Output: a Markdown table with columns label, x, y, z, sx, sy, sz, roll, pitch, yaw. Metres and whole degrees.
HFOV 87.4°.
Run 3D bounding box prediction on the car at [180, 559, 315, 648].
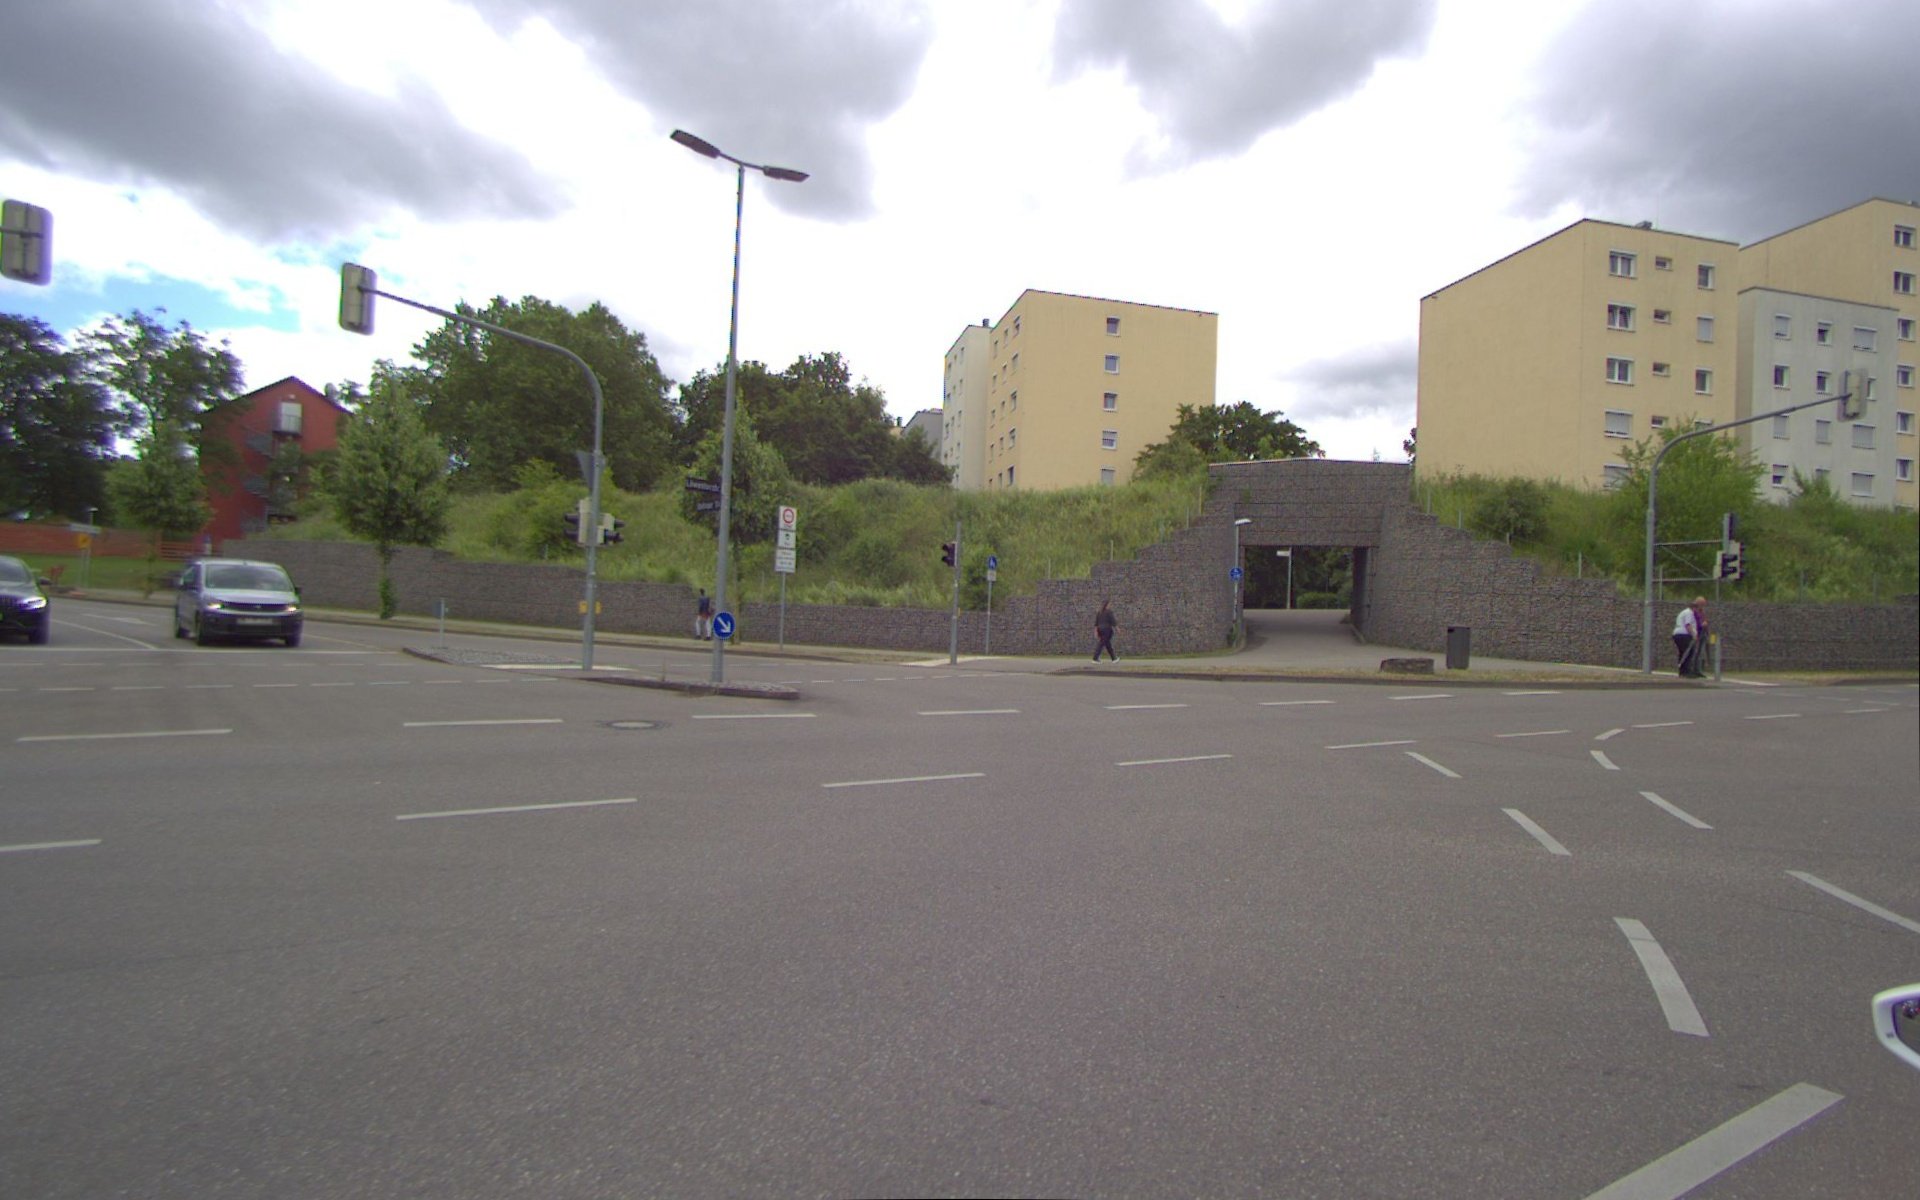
| label | x | y | z | sx | sy | sz | roll | pitch | yaw |
| --- | --- | --- | --- | --- | --- | --- | --- | --- | --- |
| car | -15.642 | 0.052 | 21.974 | 1.748 | 1.751 | 4.206 | 2 | 0 | -44 |

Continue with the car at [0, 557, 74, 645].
| label | x | y | z | sx | sy | sz | roll | pitch | yaw |
| --- | --- | --- | --- | --- | --- | --- | --- | --- | --- |
| car | -18.684 | -0.029 | 19.302 | 4.203 | 1.572 | 2.099 | 2 | 0 | 43 |

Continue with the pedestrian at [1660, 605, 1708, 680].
| label | x | y | z | sx | sy | sz | roll | pitch | yaw |
| --- | --- | --- | --- | --- | --- | --- | --- | --- | --- |
| pedestrian | 16.748 | 0.981 | 23.246 | 0.656 | 1.701 | 0.620 | 2 | 0 | -24 |

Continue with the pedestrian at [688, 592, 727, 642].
| label | x | y | z | sx | sy | sz | roll | pitch | yaw |
| --- | --- | --- | --- | --- | --- | --- | --- | --- | --- |
| pedestrian | -8.271 | 0.546 | 32.858 | 0.884 | 1.578 | 0.801 | 2 | 0 | 25 |

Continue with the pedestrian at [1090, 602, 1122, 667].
| label | x | y | z | sx | sy | sz | roll | pitch | yaw |
| --- | --- | --- | --- | --- | --- | --- | --- | --- | --- |
| pedestrian | 3.606 | 0.840 | 24.801 | 0.612 | 1.578 | 0.579 | 2 | 0 | -5 |

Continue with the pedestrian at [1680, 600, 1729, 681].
| label | x | y | z | sx | sy | sz | roll | pitch | yaw |
| --- | --- | --- | --- | --- | --- | --- | --- | --- | --- |
| pedestrian | 17.449 | 0.941 | 23.551 | 0.655 | 1.852 | 0.621 | 2 | 0 | -20 |
